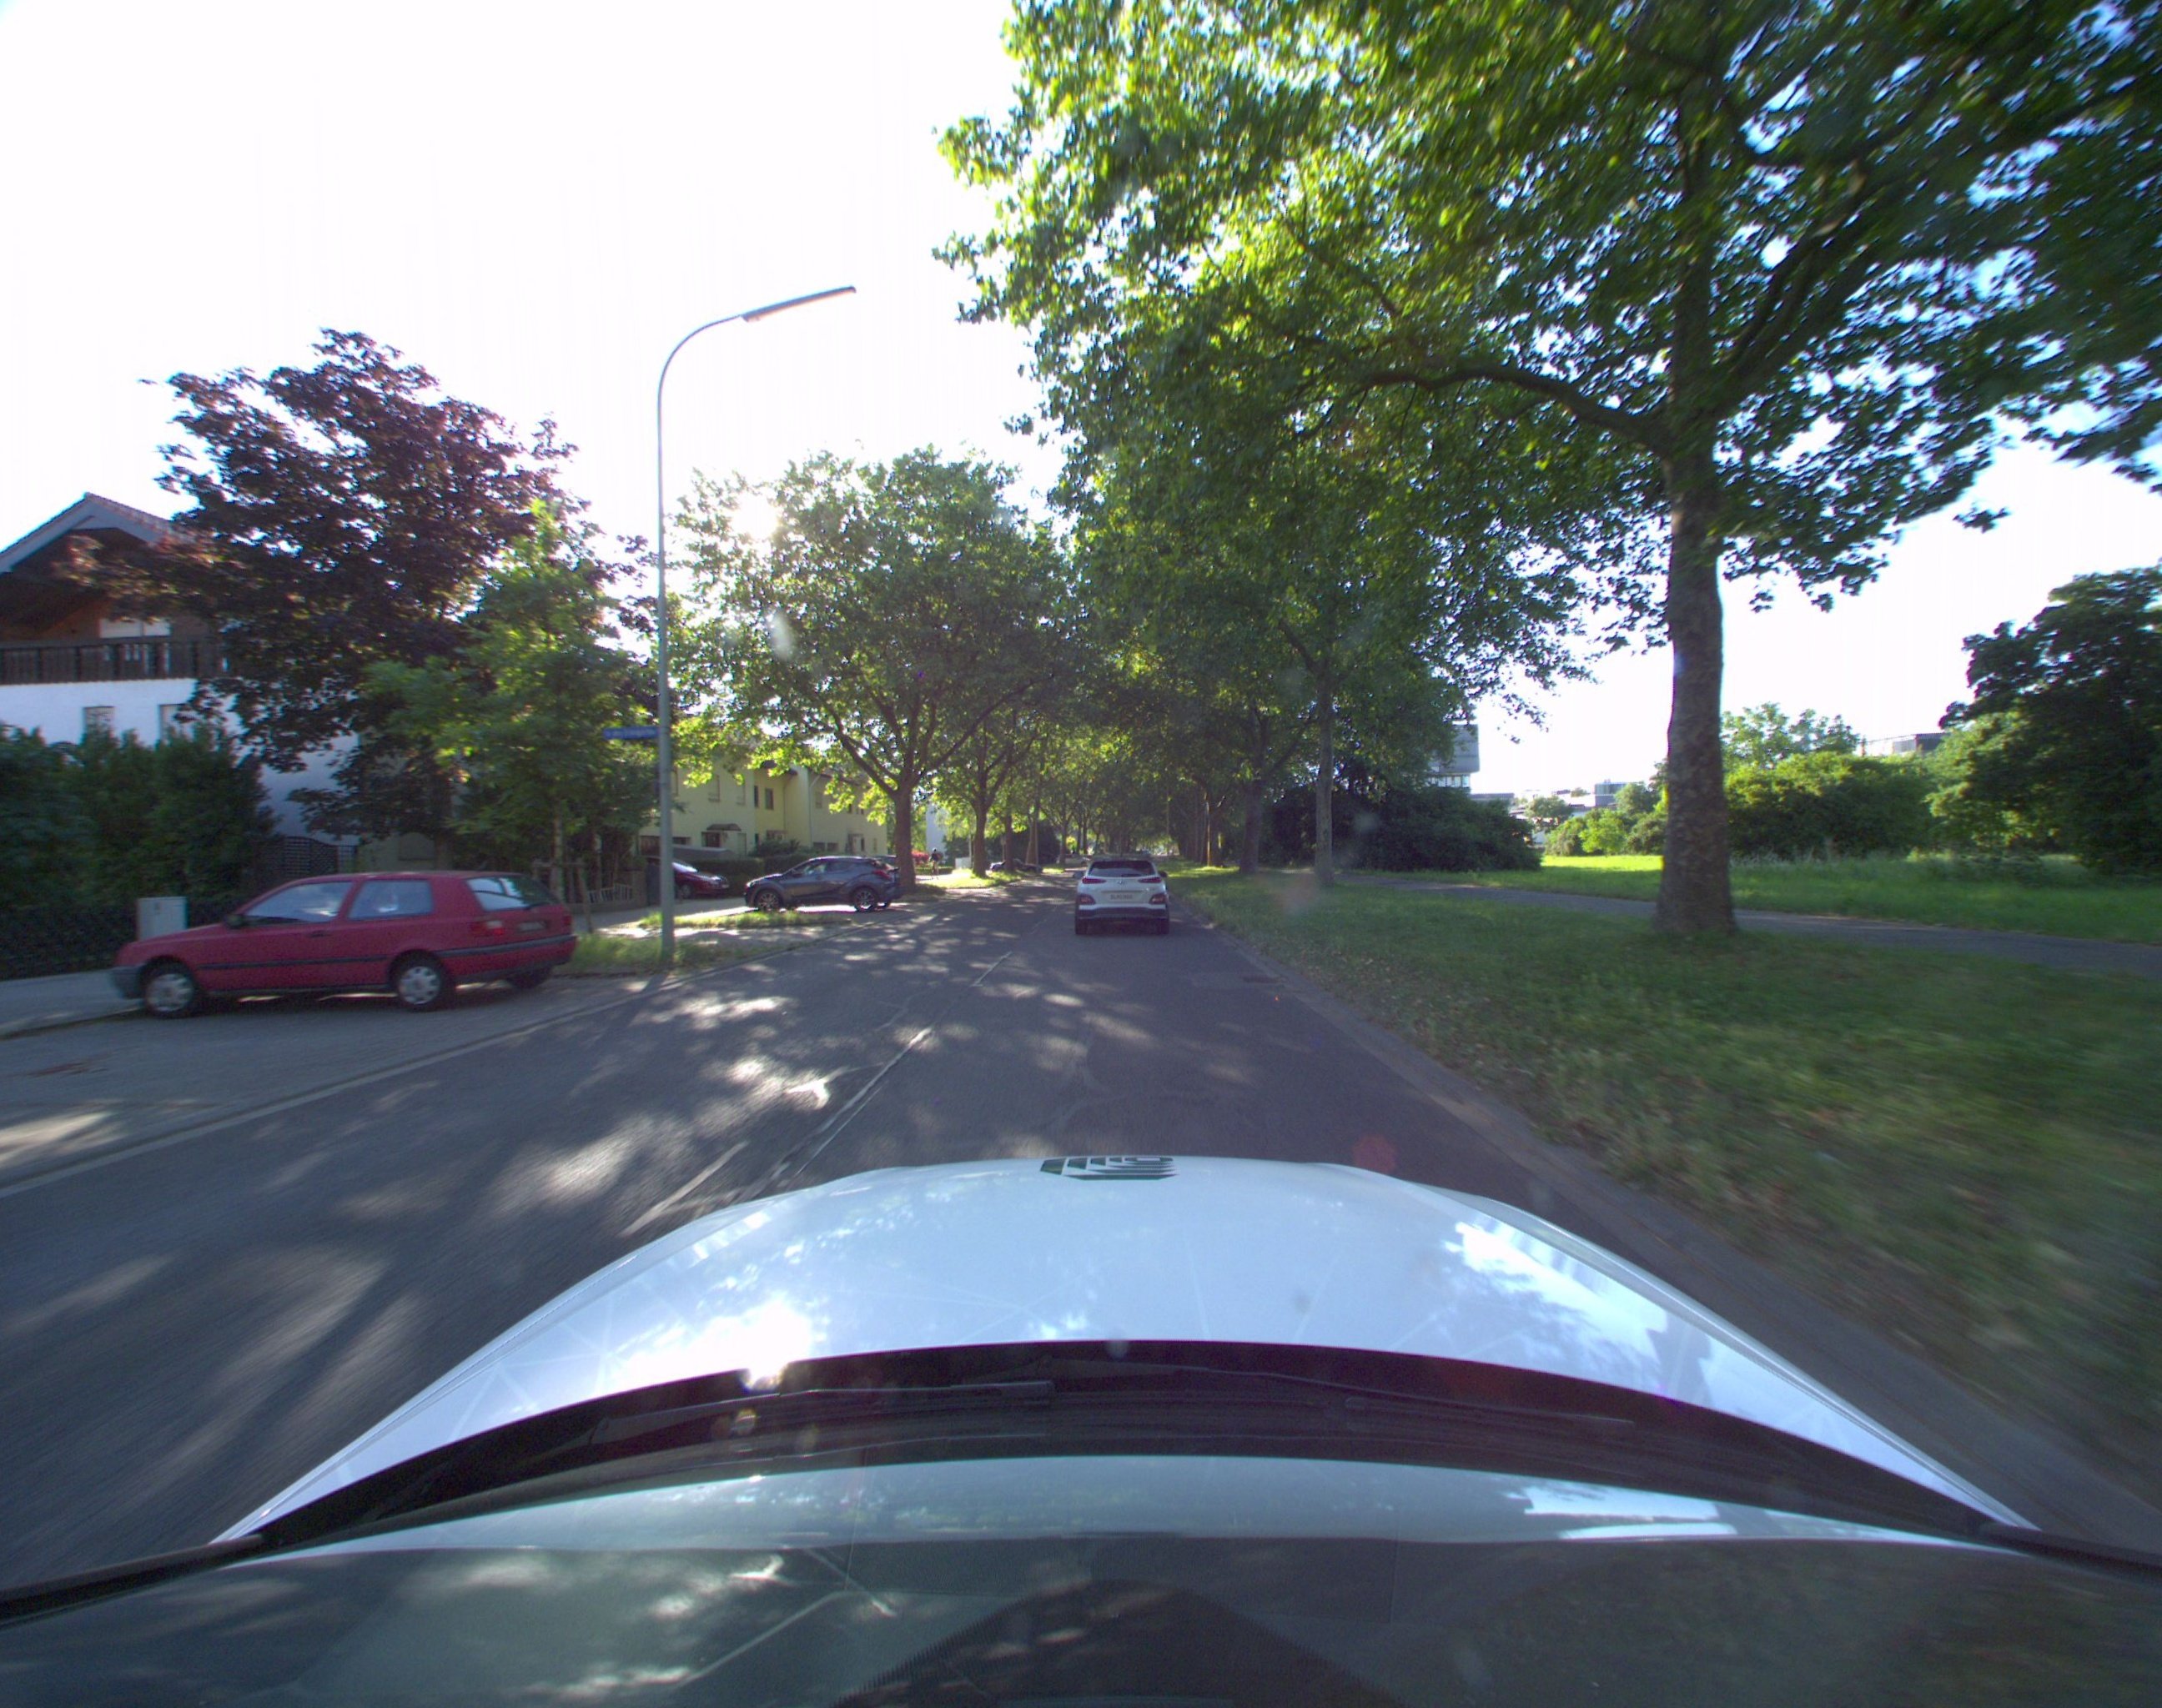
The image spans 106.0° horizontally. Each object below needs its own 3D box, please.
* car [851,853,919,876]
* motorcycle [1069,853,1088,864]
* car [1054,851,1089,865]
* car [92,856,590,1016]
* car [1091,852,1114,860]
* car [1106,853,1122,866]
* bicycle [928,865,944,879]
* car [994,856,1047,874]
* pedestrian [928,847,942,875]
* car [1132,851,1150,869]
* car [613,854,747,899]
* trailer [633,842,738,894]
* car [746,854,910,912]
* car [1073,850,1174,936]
[{"bbox_3d":[-12.996,0.691,54.047,3.969,1.464,1.903,1,0,4],"label":"car"},{"bbox_3d":[-0.327,0.565,100.978,2.377,1.388,0.648,-1,0,0],"label":"motorcycle"},{"bbox_3d":[-1.145,0.479,98.665,4.167,1.584,2.001,-1,0,1],"label":"car"},{"bbox_3d":[-7.884,0.814,8.976,3.860,1.518,1.664,-1,0,-2],"label":"car"},{"bbox_3d":[3.859,0.351,146.115,3.968,1.520,1.812,-1,0,5],"label":"car"},{"bbox_3d":[4.024,0.642,98.038,1.776,1.512,3.843,0,0,5],"label":"car"},{"bbox_3d":[-9.266,1.143,52.187,0.468,0.880,2.158,-1,0,3],"label":"bicycle"},{"bbox_3d":[-4.534,0.788,61.368,3.809,1.316,1.791,0,0,3],"label":"car"},{"bbox_3d":[-9.346,0.438,52.145,0.614,1.716,1.066,-1,0,3],"label":"pedestrian"},{"bbox_3d":[5.955,0.549,80.998,1.670,1.696,3.746,-1,0,2],"label":"car"},{"bbox_3d":[-15.033,0.822,30.691,3.970,1.476,2.002,3,0,3],"label":"car"},{"bbox_3d":[-16.273,0.535,33.640,3.440,1.925,1.644,3,1,1],"label":"trailer"},{"bbox_3d":[-7.007,0.784,22.851,3.975,1.518,1.817,-1,0,0],"label":"car"},{"bbox_3d":[0.769,0.727,16.990,1.830,1.555,3.999,-1,0,-1],"label":"car"}]
